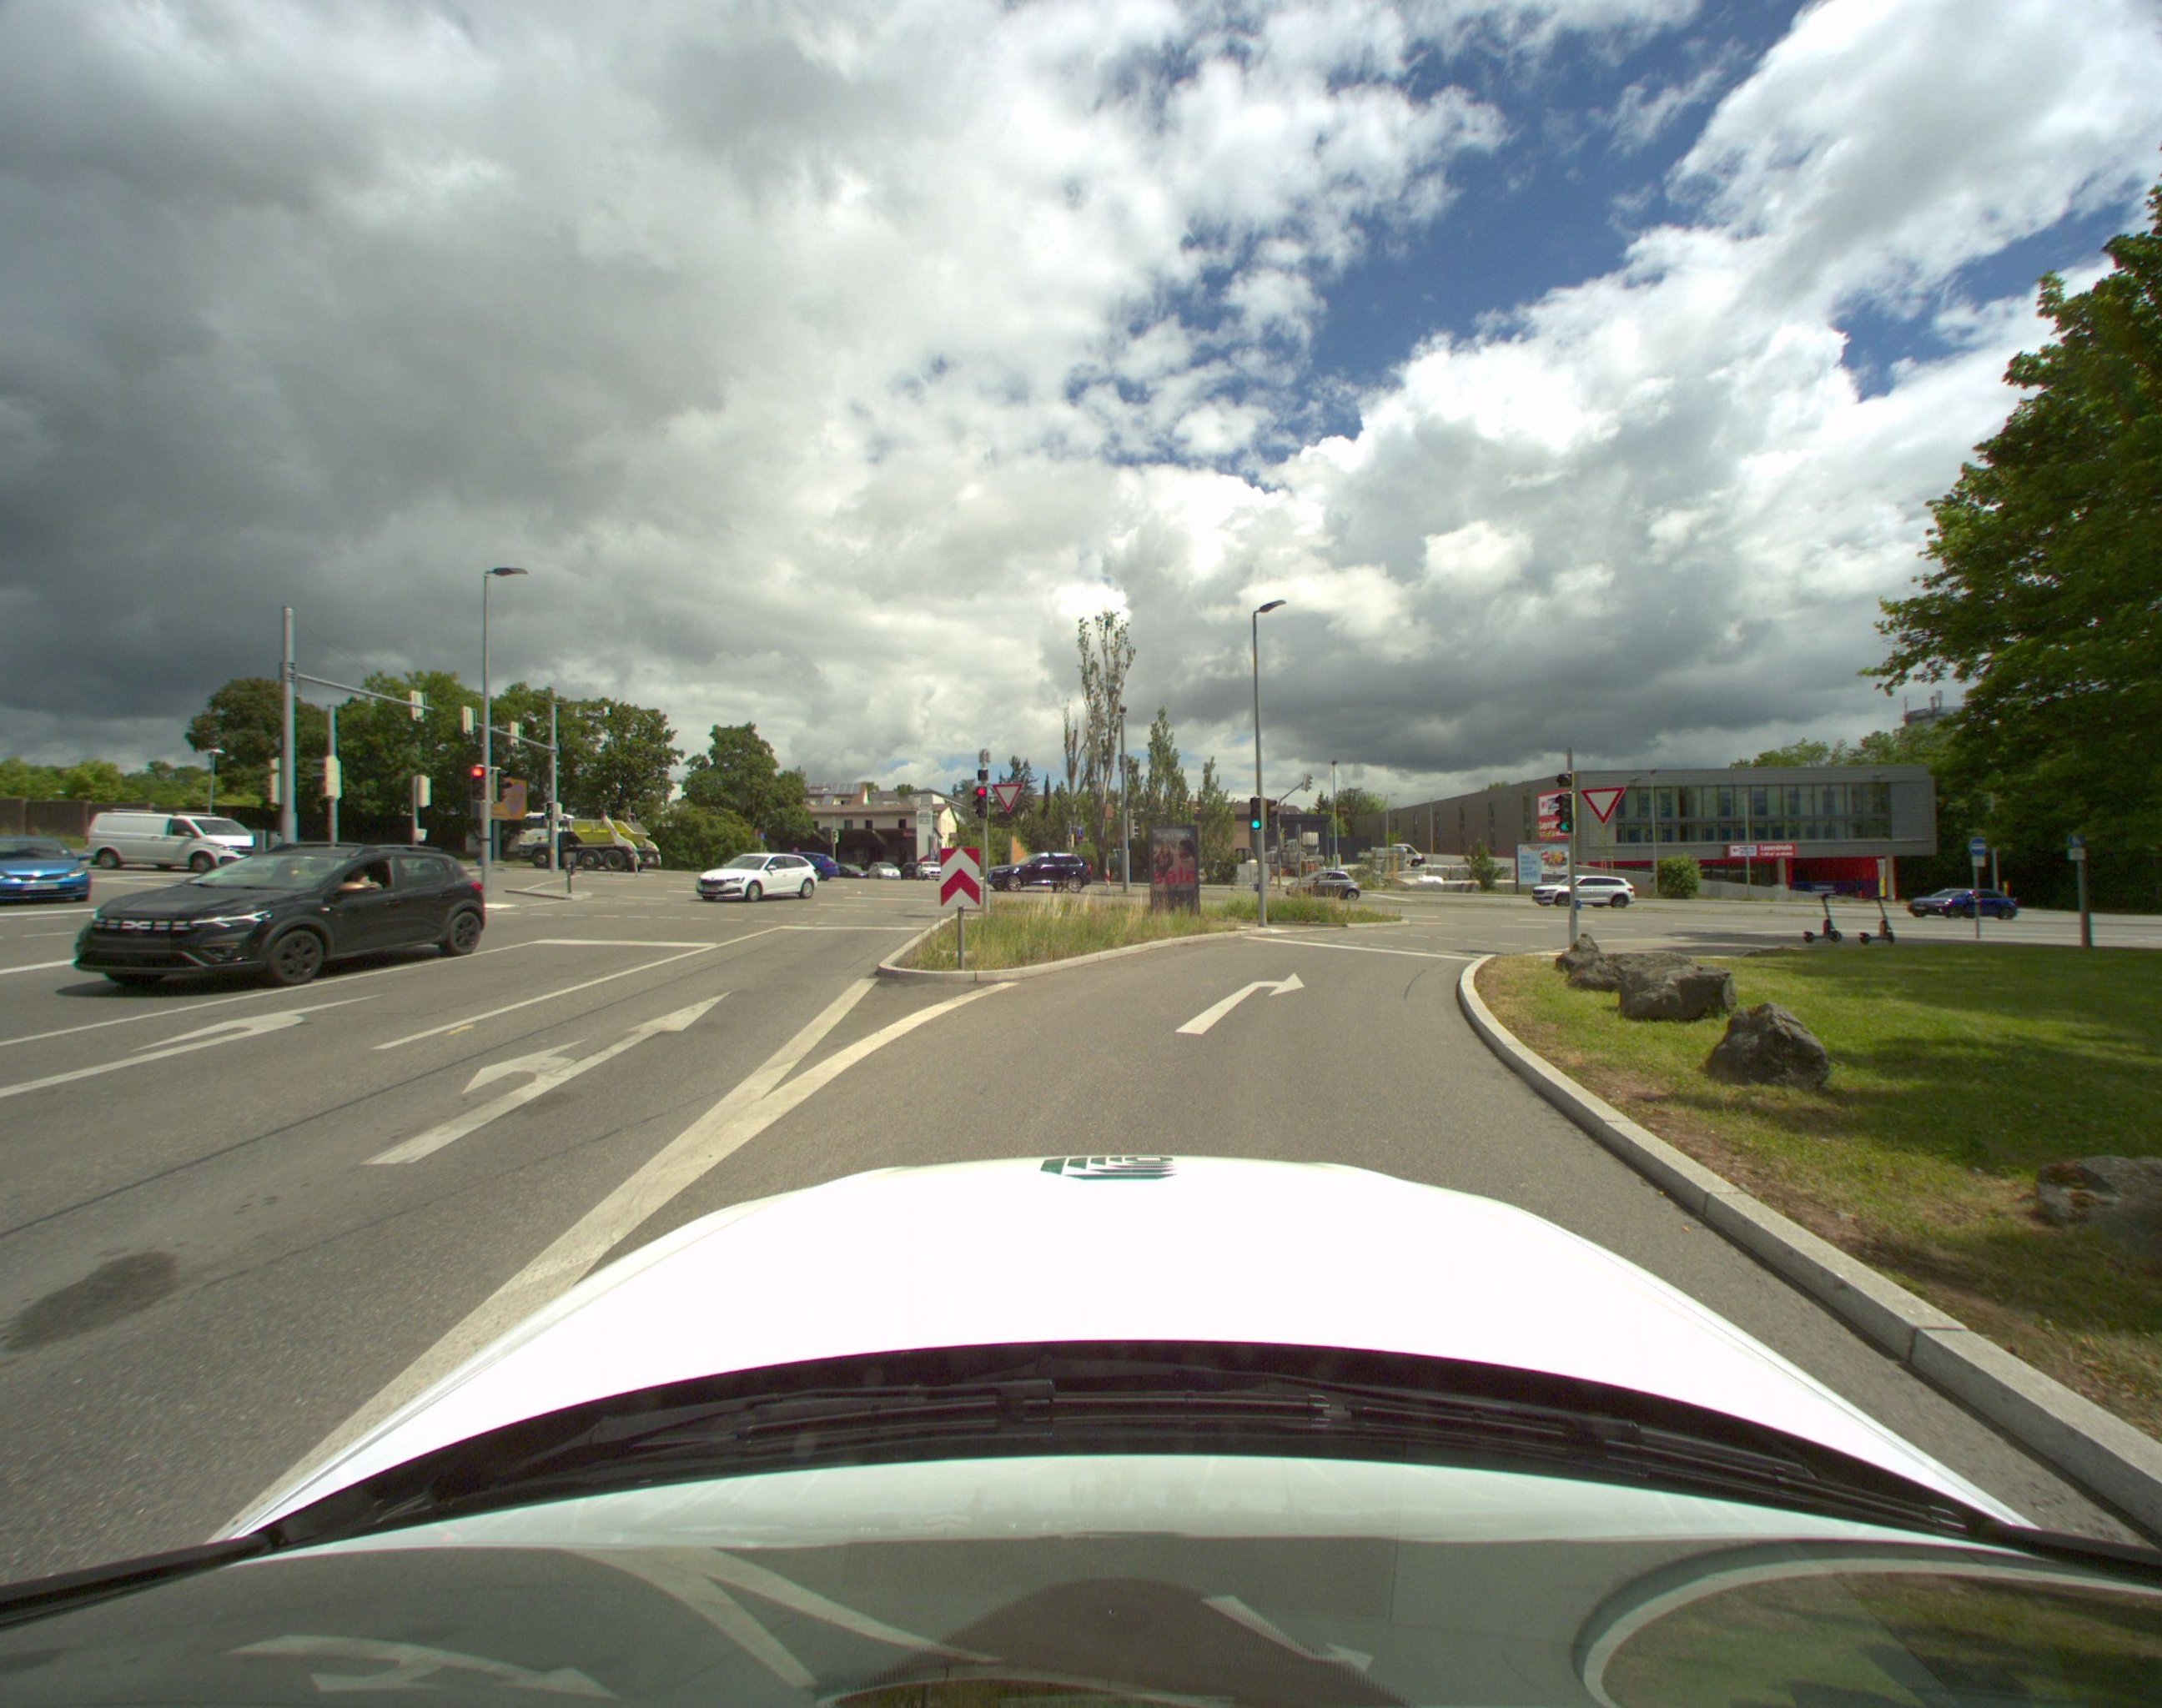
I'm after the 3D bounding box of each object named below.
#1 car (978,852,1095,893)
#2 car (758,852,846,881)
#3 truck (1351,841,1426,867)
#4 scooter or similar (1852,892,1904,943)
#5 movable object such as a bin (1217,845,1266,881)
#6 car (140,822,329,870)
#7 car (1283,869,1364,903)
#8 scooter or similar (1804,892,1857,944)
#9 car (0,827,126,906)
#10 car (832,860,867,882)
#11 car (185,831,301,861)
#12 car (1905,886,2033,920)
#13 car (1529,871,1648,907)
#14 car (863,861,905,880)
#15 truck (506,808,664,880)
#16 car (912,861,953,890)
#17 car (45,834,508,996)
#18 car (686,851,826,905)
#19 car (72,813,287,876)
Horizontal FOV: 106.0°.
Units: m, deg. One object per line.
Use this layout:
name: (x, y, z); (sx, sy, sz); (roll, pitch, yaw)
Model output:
car: (-2.018, 0.846, 37.261); (4.990, 1.690, 1.895); (2, 0, -26)
car: (-14.485, 0.659, 42.447); (3.977, 1.400, 1.695); (1, -1, -2)
truck: (29.714, 0.002, 78.987); (6.512, 2.145, 2.008); (-3, -1, 14)
scooter or similar: (20.158, 1.592, 20.594); (1.191, 1.264, 0.530); (2, -3, -25)
movable object such as a bin: (12.236, 0.685, 61.990); (3.377, 2.538, 2.162); (1, -1, 17)
car: (-32.568, -0.301, 31.459); (4.946, 1.635, 1.908); (2, 0, -5)
car: (11.926, 1.559, 40.116); (3.501, 1.460, 1.585); (-2, 0, 0)
scooter or similar: (18.806, 1.594, 20.430); (1.191, 1.264, 0.530); (2, -3, -25)
car: (-24.639, 0.236, 18.965); (4.394, 1.637, 1.921); (2, 0, 24)
car: (-19.336, 1.393, 67.934); (1.747, 1.651, 3.814); (1, 0, -33)
car: (-42.268, -0.401, 41.134); (3.976, 1.400, 1.695); (1, -1, -2)
car: (43.943, 2.418, 40.382); (4.368, 1.511, 1.811); (1, 0, 0)
car: (25.020, 1.712, 40.243); (4.870, 1.658, 1.733); (1, 0, -1)
car: (-14.939, 1.234, 61.715); (1.704, 1.400, 3.956); (2, -1, -36)
truck: (-27.683, -0.515, 45.709); (6.927, 3.579, 2.844); (-3, -1, -2)
car: (-11.395, 1.660, 62.308); (2.004, 2.013, 3.965); (-3, -1, -27)
car: (-9.537, 0.617, 10.273); (1.781, 1.578, 4.159); (2, 0, -3)
car: (-10.058, 0.710, 25.631); (1.604, 1.469, 4.398); (2, 0, 18)
car: (-31.132, -0.315, 28.265); (4.946, 1.937, 1.908); (2, 0, -5)
